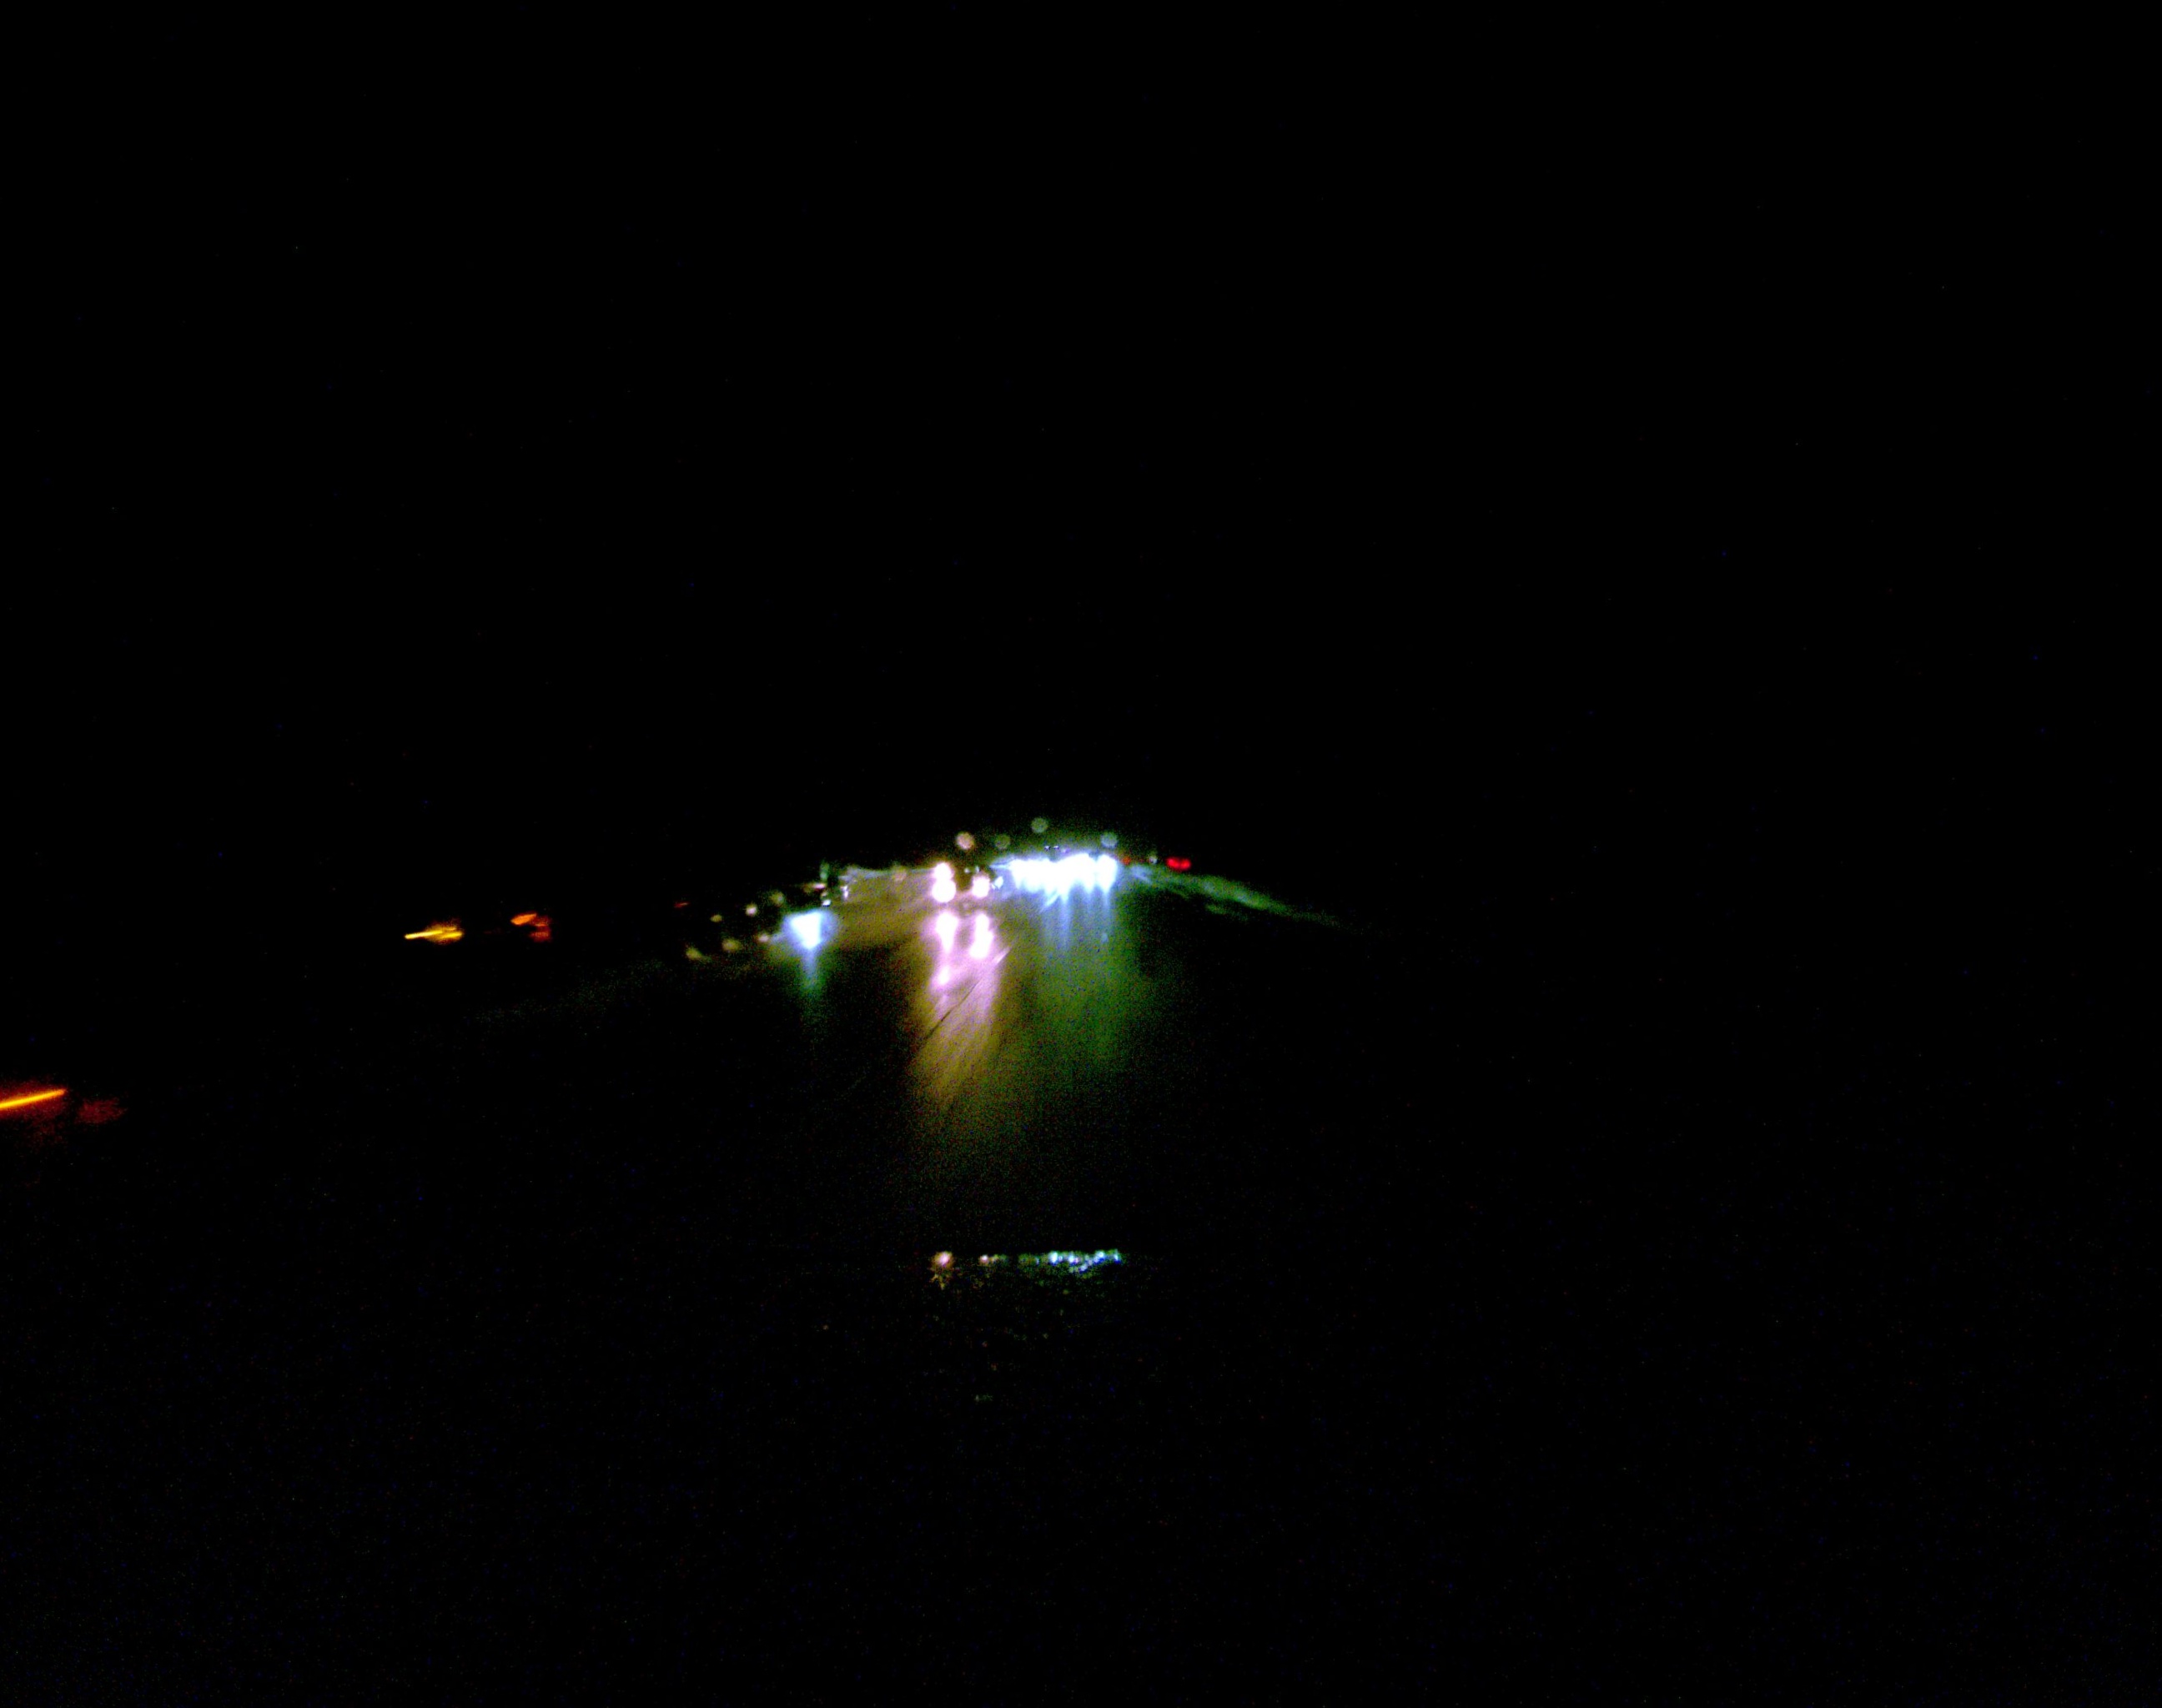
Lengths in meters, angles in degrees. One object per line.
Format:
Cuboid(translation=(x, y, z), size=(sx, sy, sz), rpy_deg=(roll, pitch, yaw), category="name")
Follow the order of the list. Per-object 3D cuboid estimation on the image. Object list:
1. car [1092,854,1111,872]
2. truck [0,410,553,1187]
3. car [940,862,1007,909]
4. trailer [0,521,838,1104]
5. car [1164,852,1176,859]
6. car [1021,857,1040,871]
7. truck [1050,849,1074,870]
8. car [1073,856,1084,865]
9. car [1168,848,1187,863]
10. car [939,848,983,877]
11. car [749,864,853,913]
Cuboid(translation=(1.911, 0.794, 70.211), size=(1.619, 1.452, 3.768), rpy_deg=(-3, 1, 2), category="car")
Cuboid(translation=(-7.284, -0.280, 4.538), size=(2.810, 4.242, 7.447), rpy_deg=(-2, 0, 1), category="truck")
Cuboid(translation=(-3.671, 1.048, 26.463), size=(1.616, 1.404, 3.792), rpy_deg=(-2, 0, 2), category="car")
Cuboid(translation=(-7.216, -0.302, 11.607), size=(2.810, 4.187, 12.096), rpy_deg=(-2, 0, 1), category="trailer")
Cuboid(translation=(18.732, 0.313, 159.978), size=(1.998, 1.492, 4.965), rpy_deg=(-3, 1, 1), category="car")
Cuboid(translation=(-5.822, 1.142, 87.911), size=(1.747, 1.470, 5.366), rpy_deg=(-3, 0, 1), category="car")
Cuboid(translation=(-1.609, 0.442, 66.118), size=(1.848, 1.686, 4.854), rpy_deg=(-3, 1, 1), category="truck")
Cuboid(translation=(-0.494, 1.245, 151.195), size=(1.944, 1.521, 4.000), rpy_deg=(-3, 1, 2), category="car")
Cuboid(translation=(11.098, 0.152, 87.494), size=(1.714, 1.554, 4.295), rpy_deg=(-1, 1, 1), category="car")
Cuboid(translation=(-8.500, 0.593, 54.319), size=(2.051, 1.962, 5.408), rpy_deg=(-1, 0, 3), category="car")
Cuboid(translation=(-9.997, 1.183, 27.604), size=(1.899, 1.477, 4.962), rpy_deg=(-2, 0, 0), category="car")
